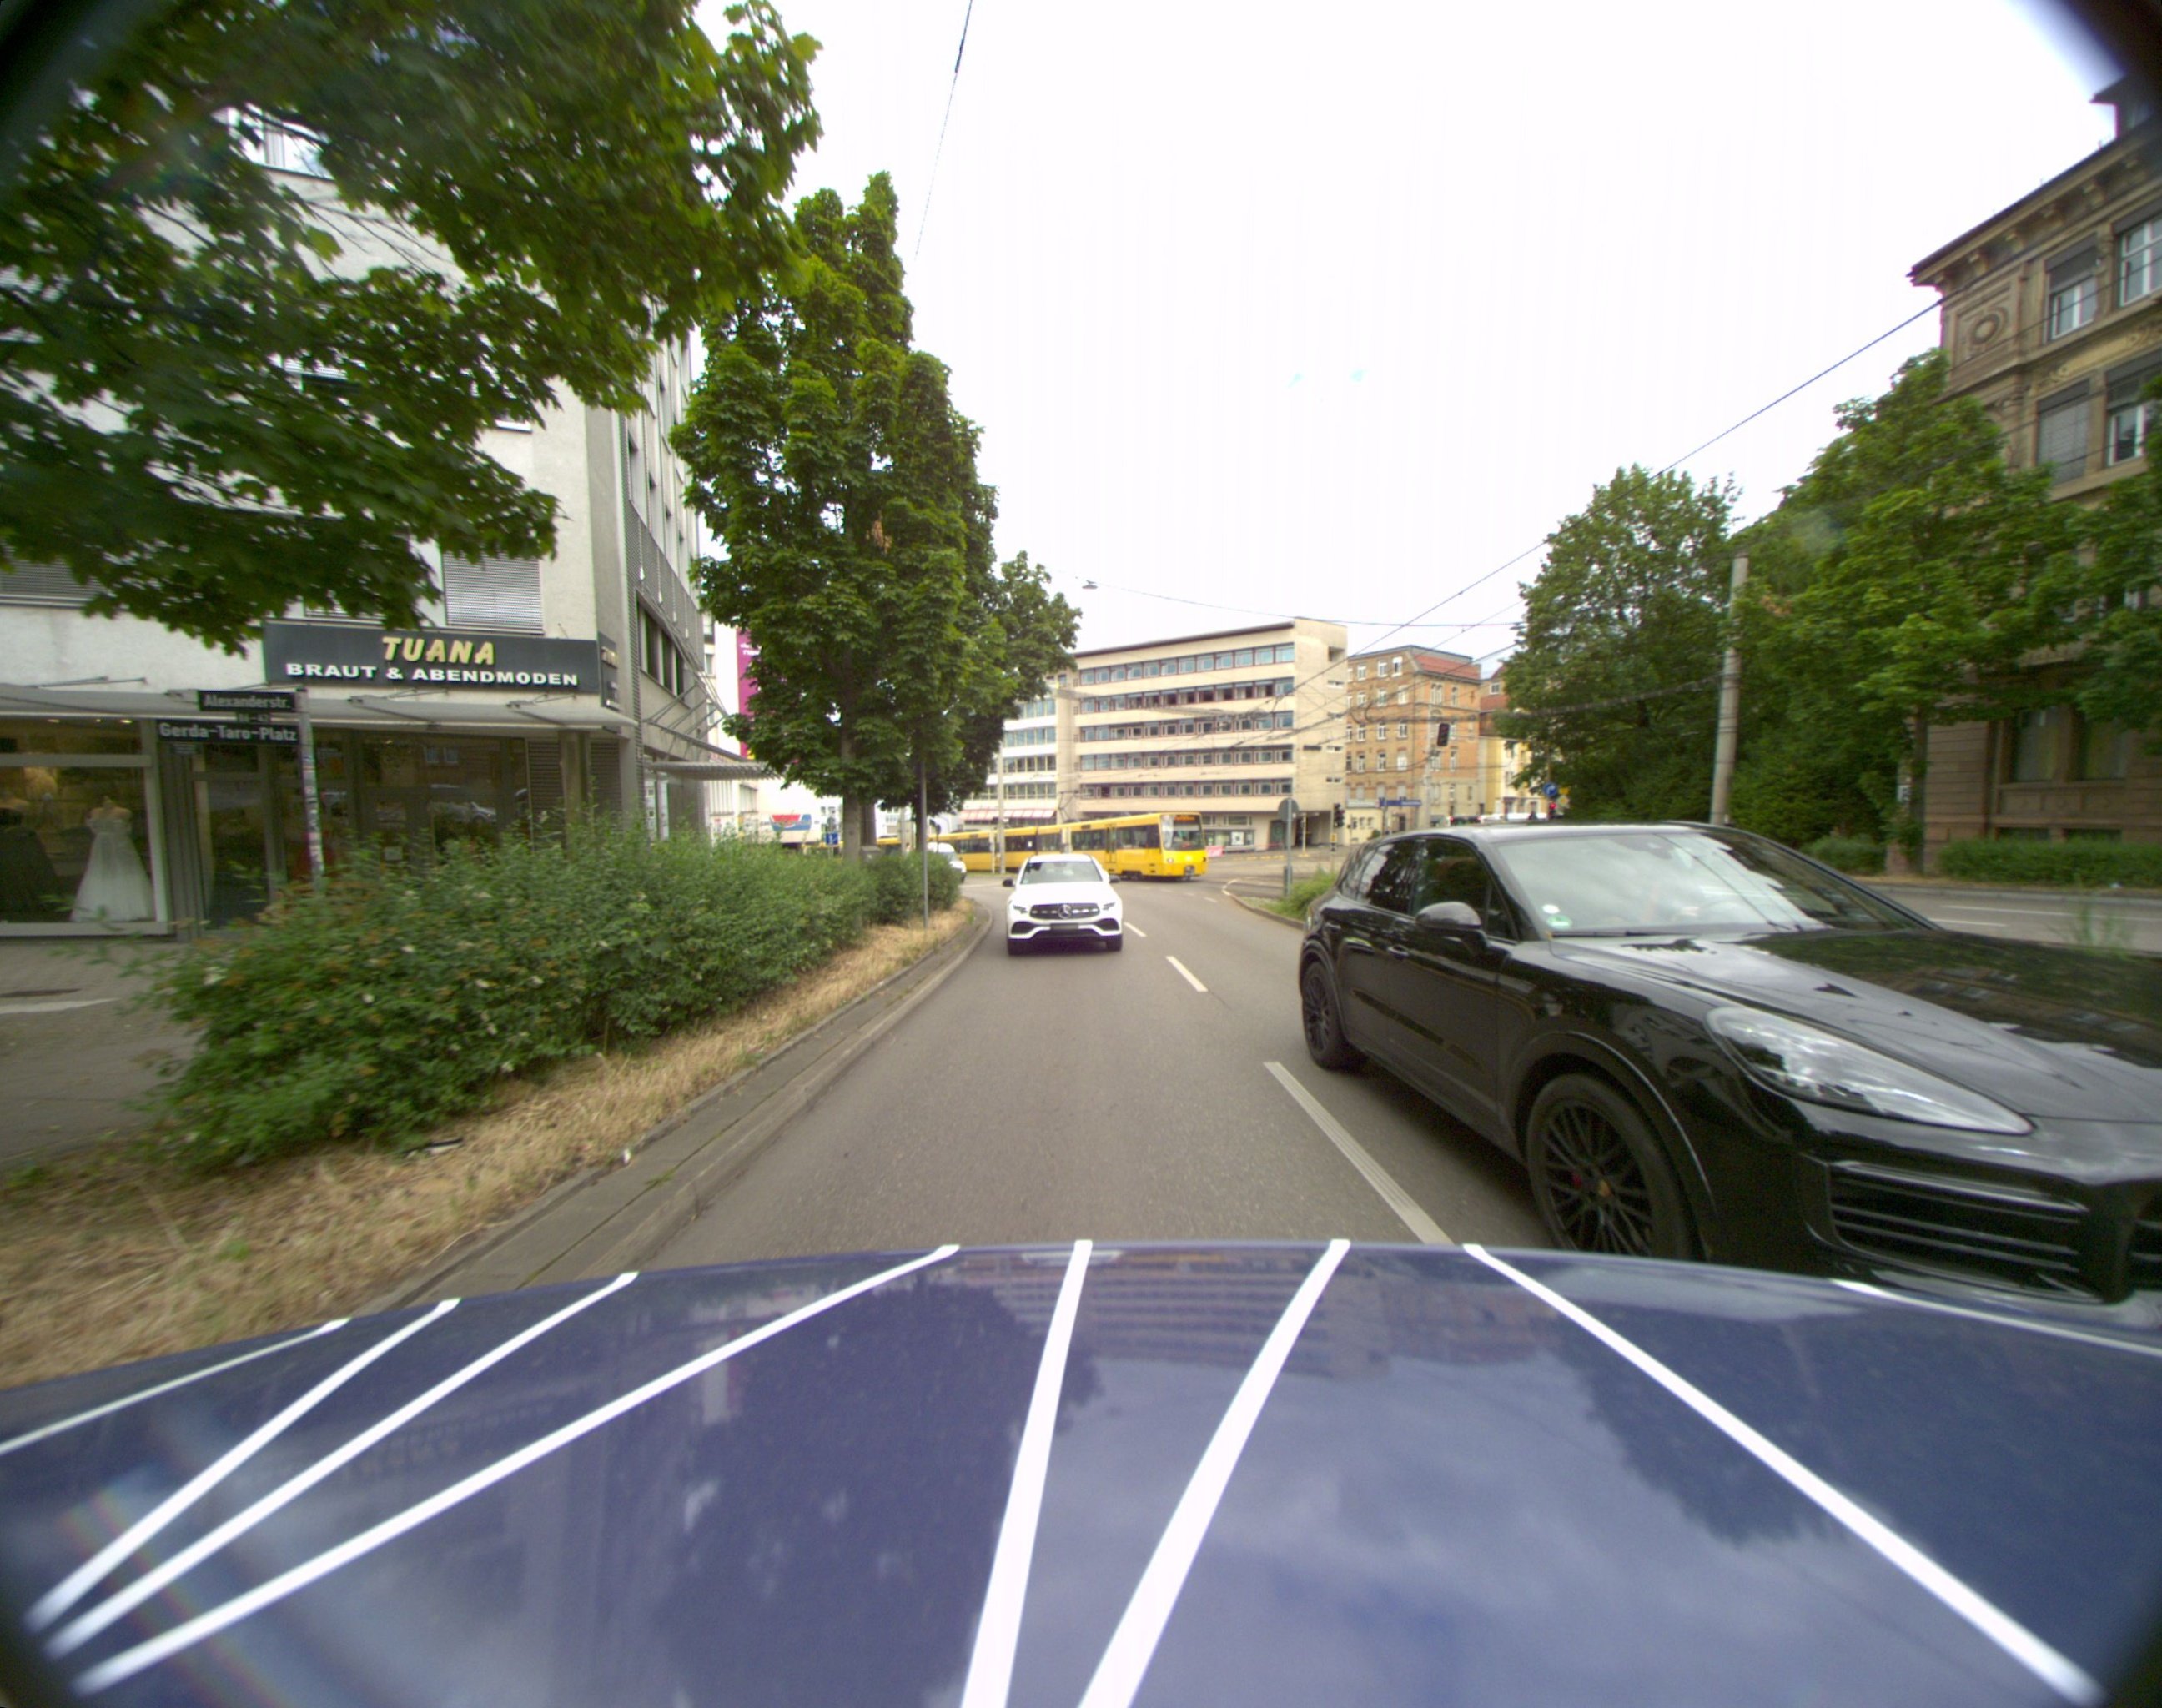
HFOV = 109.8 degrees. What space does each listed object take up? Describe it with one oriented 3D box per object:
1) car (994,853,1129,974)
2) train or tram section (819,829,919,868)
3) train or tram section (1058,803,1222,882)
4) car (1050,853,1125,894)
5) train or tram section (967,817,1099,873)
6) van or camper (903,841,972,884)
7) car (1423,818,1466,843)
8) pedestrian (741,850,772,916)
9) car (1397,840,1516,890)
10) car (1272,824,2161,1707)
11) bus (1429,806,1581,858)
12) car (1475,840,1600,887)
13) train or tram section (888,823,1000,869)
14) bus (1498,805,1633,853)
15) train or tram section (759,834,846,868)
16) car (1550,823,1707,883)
[{"bbox_3d":[-0.290,0.894,13.774,1.935,1.622,4.772,-3,1,0],"label":"car"},{"bbox_3d":[-22.113,-0.552,78.279,14.188,3.540,2.937,0,5,44],"label":"train or tram section"},{"bbox_3d":[2.698,-0.605,43.215,2.893,3.643,14.446,-4,2,-22],"label":"train or tram section"},{"bbox_3d":[0.200,0.779,33.065,1.899,1.467,4.523,-4,2,-18],"label":"car"},{"bbox_3d":[-4.013,-0.621,56.575,2.895,3.643,14.193,-4,2,-33],"label":"train or tram section"},{"bbox_3d":[-9.700,0.523,50.714,2.213,2.544,6.357,-6,3,-32],"label":"van or camper"},{"bbox_3d":[36.036,-2.323,75.357,4.007,2.000,1.997,-3,-7,-38],"label":"car"},{"bbox_3d":[-9.124,0.797,21.363,0.676,1.784,0.607,-3,1,-20],"label":"pedestrian"},{"bbox_3d":[13.611,0.327,27.871,1.999,1.510,4.404,-4,1,-2],"label":"car"},{"bbox_3d":[2.591,0.732,3.613,2.033,1.675,4.779,-2,2,-1],"label":"car"},{"bbox_3d":[28.549,-1.493,50.937,11.565,3.012,3.382,-3,1,-30],"label":"bus"},{"bbox_3d":[16.026,0.281,26.948,1.747,1.419,4.404,-3,1,0],"label":"car"},{"bbox_3d":[-12.576,-0.646,67.894,2.895,3.644,14.190,-5,3,-41],"label":"train or tram section"},{"bbox_3d":[35.047,-1.830,54.748,11.378,3.026,3.316,-3,1,-31],"label":"bus"},{"bbox_3d":[-32.481,-0.241,87.971,14.190,3.423,2.895,-2,4,42],"label":"train or tram section"},{"bbox_3d":[18.873,-0.049,26.548,1.998,1.839,4.993,-2,0,2],"label":"car"}]
